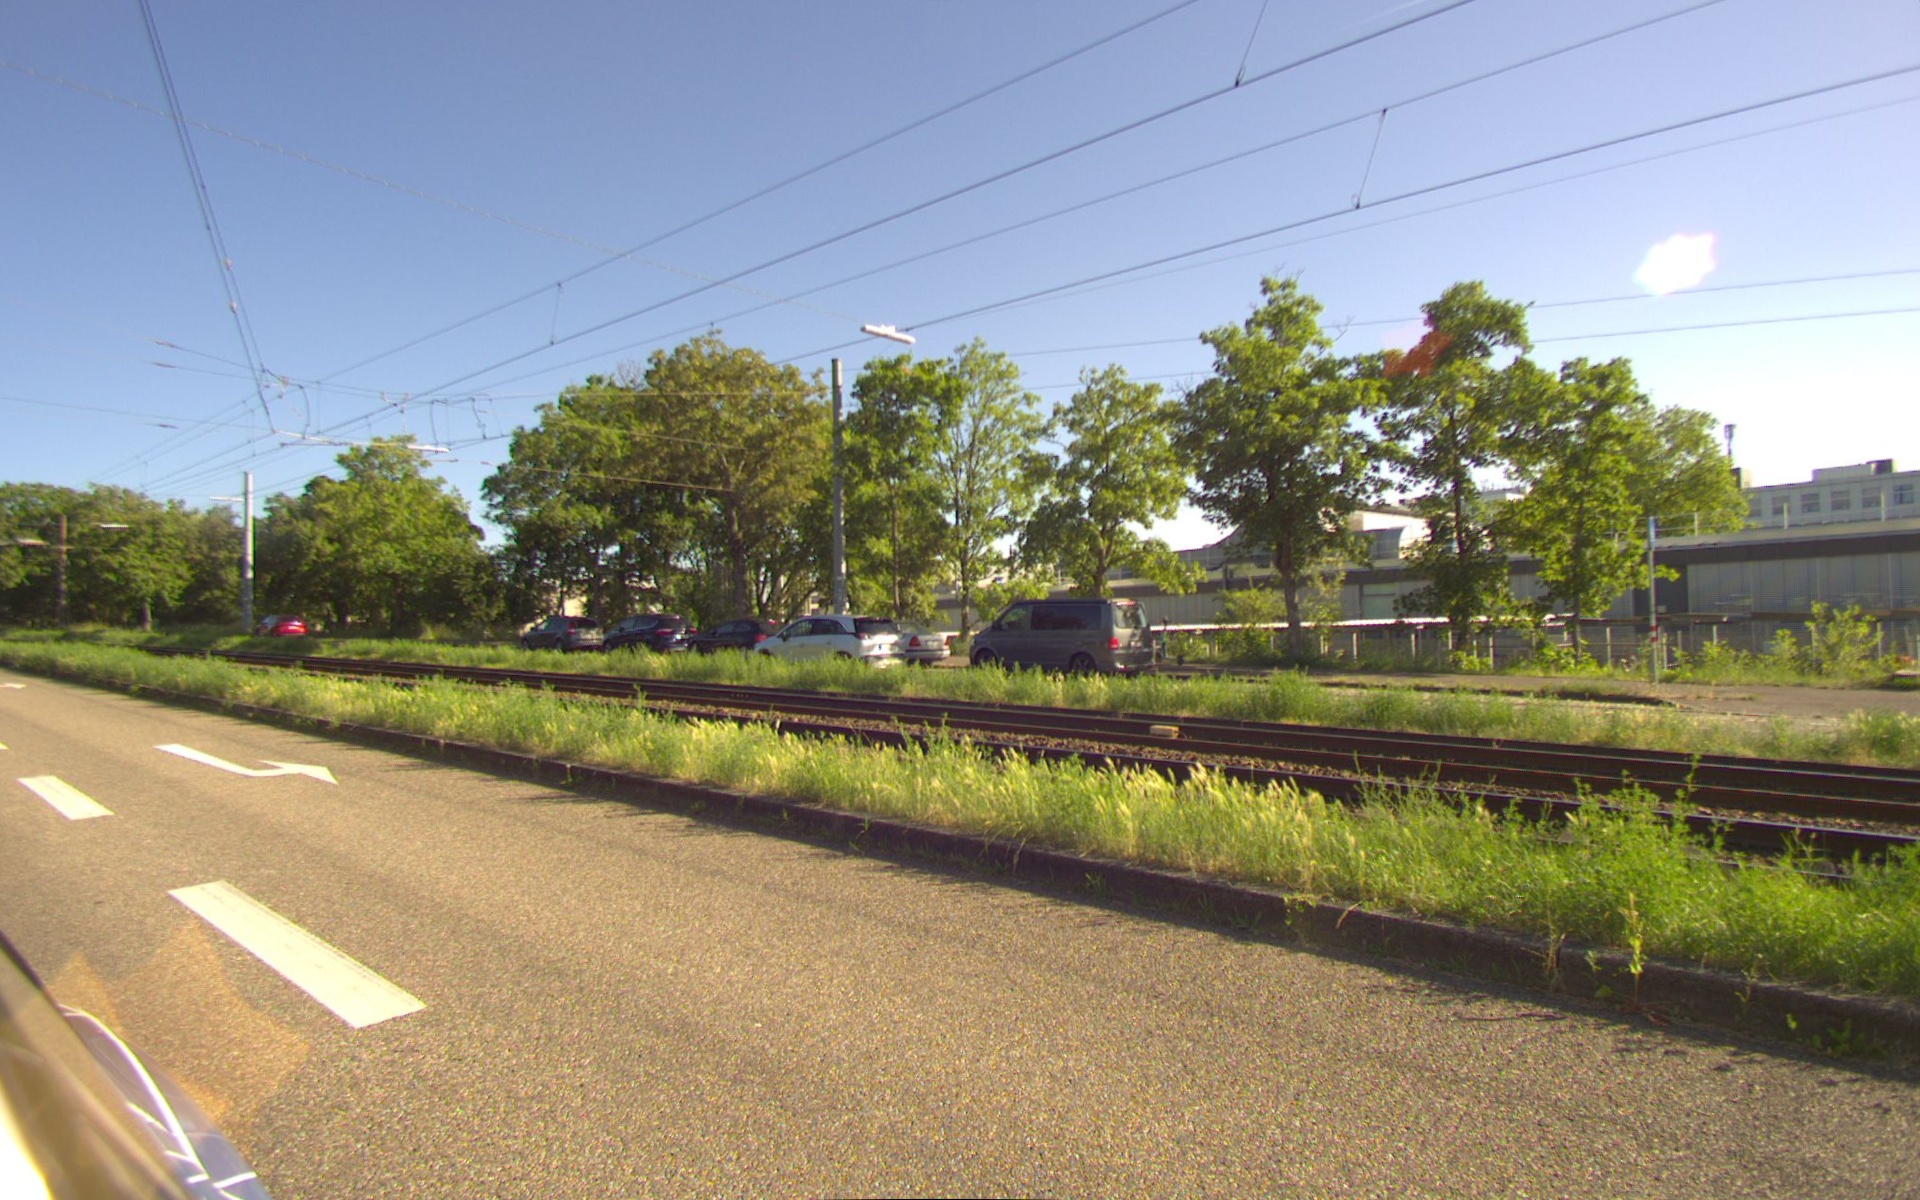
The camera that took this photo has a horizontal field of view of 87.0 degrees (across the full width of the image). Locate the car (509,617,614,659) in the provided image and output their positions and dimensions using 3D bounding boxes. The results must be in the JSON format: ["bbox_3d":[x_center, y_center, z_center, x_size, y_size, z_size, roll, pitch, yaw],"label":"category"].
[{"bbox_3d":[-16.269,1.524,41.265,4.557,1.575,2.103,-2,-1,41],"label":"car"}]

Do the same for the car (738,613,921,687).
[{"bbox_3d":[-3.107,1.120,23.668,4.150,1.569,1.838,-2,-1,37],"label":"car"}]

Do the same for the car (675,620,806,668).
[{"bbox_3d":[-7.245,1.426,33.237,4.486,1.437,1.935,-2,-1,42],"label":"car"}]

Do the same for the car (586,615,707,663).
[{"bbox_3d":[-11.440,1.393,36.789,4.614,1.599,2.102,-2,-1,41],"label":"car"}]

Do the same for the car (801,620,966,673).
[{"bbox_3d":[-2.267,1.314,29.230,4.612,1.391,2.103,-2,-1,40],"label":"car"}]

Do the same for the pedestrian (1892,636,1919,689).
[{"bbox_3d":[23.523,1.539,25.037,0.435,1.310,0.441,-1,-2,-1],"label":"pedestrian"}]

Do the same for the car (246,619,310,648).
[{"bbox_3d":[-42.465,2.085,62.991,4.797,1.746,2.290,-2,-1,43],"label":"car"}]

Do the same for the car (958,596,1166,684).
[{"bbox_3d":[2.427,0.942,24.822,4.684,1.949,2.178,-2,-1,42],"label":"car"}]
